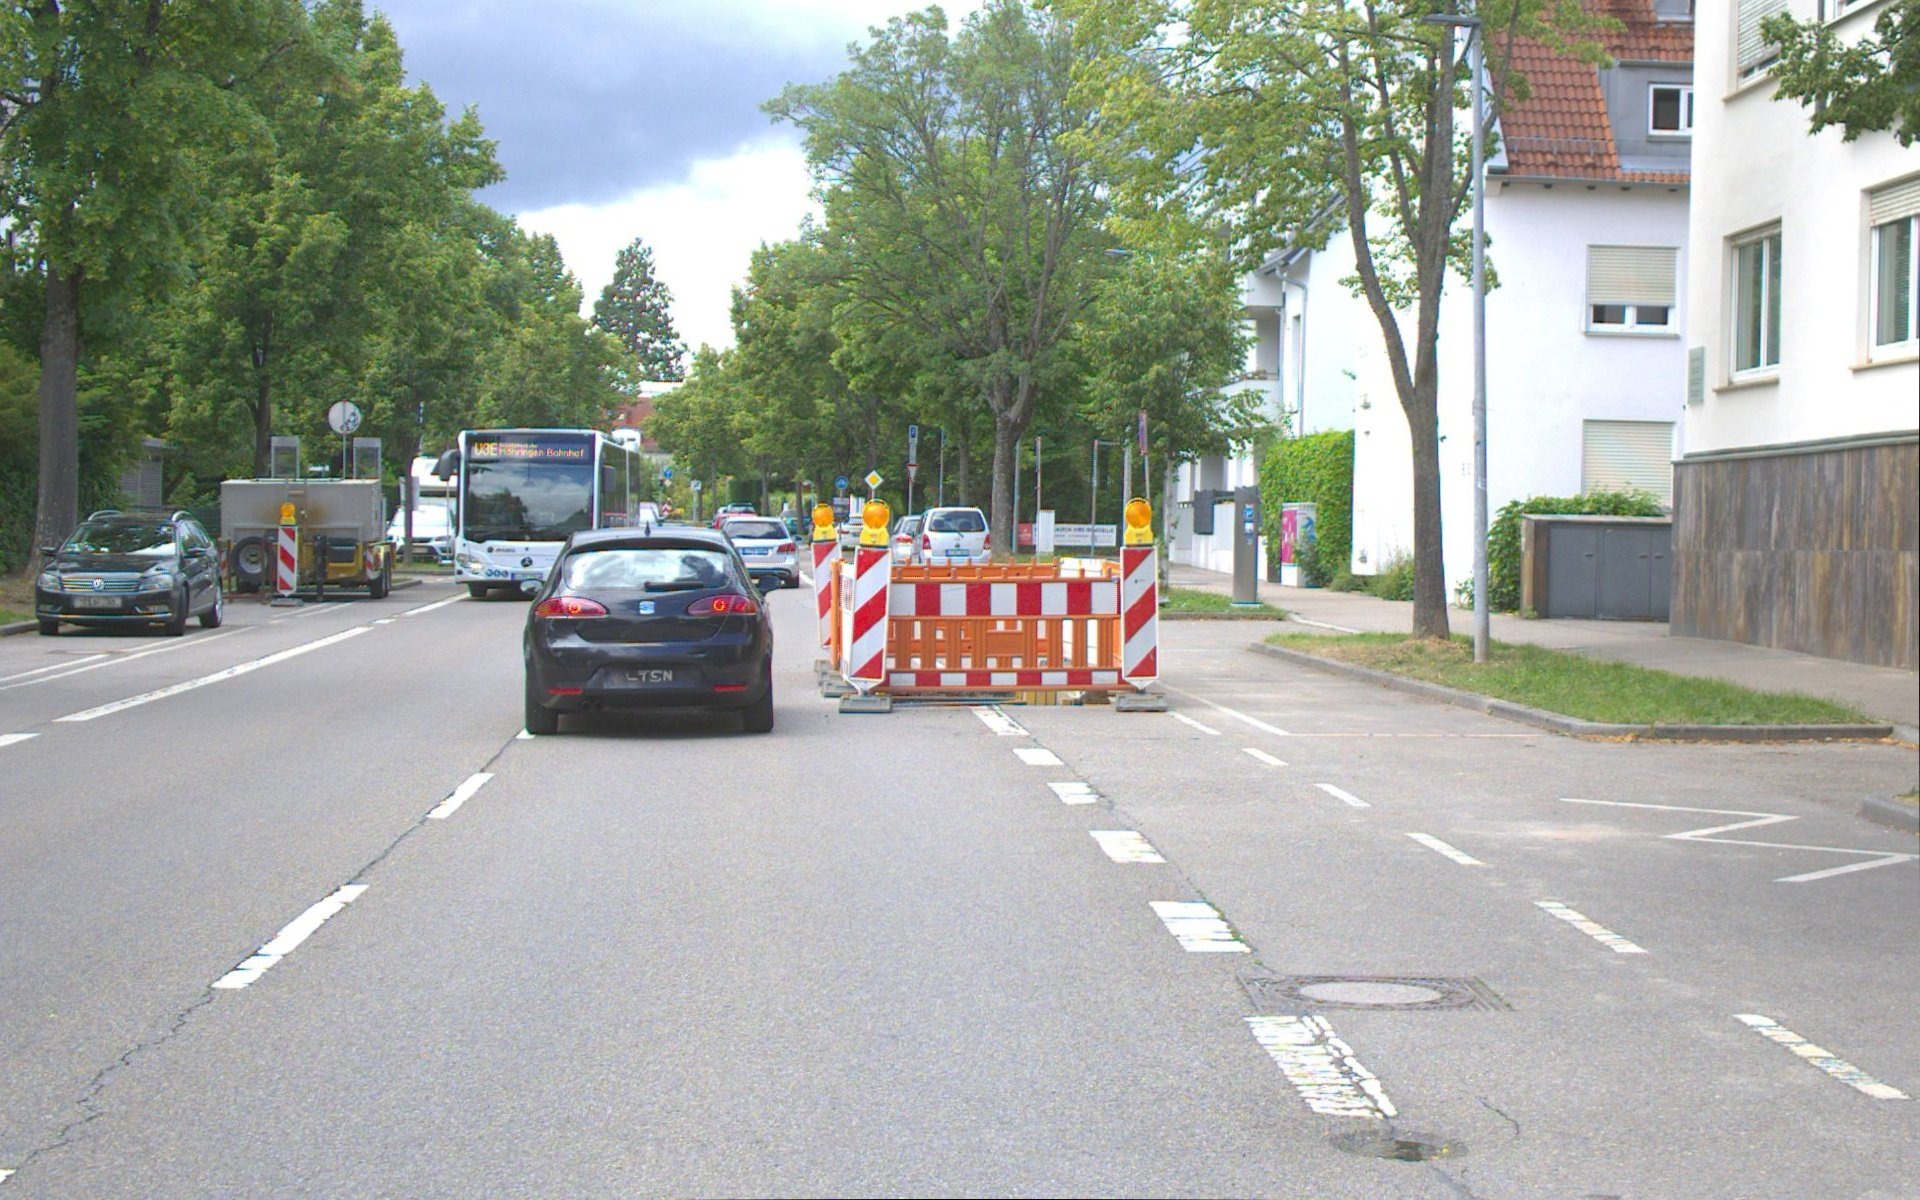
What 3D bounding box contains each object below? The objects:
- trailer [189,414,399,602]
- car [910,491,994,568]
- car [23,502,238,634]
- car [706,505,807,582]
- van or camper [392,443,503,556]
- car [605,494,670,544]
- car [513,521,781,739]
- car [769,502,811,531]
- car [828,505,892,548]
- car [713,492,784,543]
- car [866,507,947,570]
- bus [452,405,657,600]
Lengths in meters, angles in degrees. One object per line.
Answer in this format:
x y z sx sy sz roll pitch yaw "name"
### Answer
-11.209 -1.517 58.439 2.673 2.931 7.477 1 1 -5 "trailer"
-0.205 -1.586 76.976 1.632 1.659 3.648 0 1 -4 "car"
-10.416 -0.378 43.479 1.860 1.548 4.620 1 0 -4 "car"
-4.207 -1.192 71.636 1.993 1.552 4.001 1 1 -2 "car"
-14.220 -2.801 95.873 2.435 2.999 7.694 0 2 -4 "van or camper"
-11.142 -2.800 119.001 1.993 1.662 4.590 -1 2 -3 "car"
-2.299 0.165 24.871 1.783 1.444 3.559 0 1 -6 "car"
-8.670 -4.283 175.600 1.682 1.427 4.046 0 2 -9 "car"
-3.526 -2.598 120.520 2.020 1.438 5.026 1 2 -4 "car"
-6.532 -2.543 105.776 1.993 1.525 4.001 0 2 -6 "car"
-1.308 -1.496 82.679 1.687 1.488 4.228 0 1 -5 "car"
-7.726 -1.809 67.810 2.804 3.277 18.048 1 1 -3 "bus"
